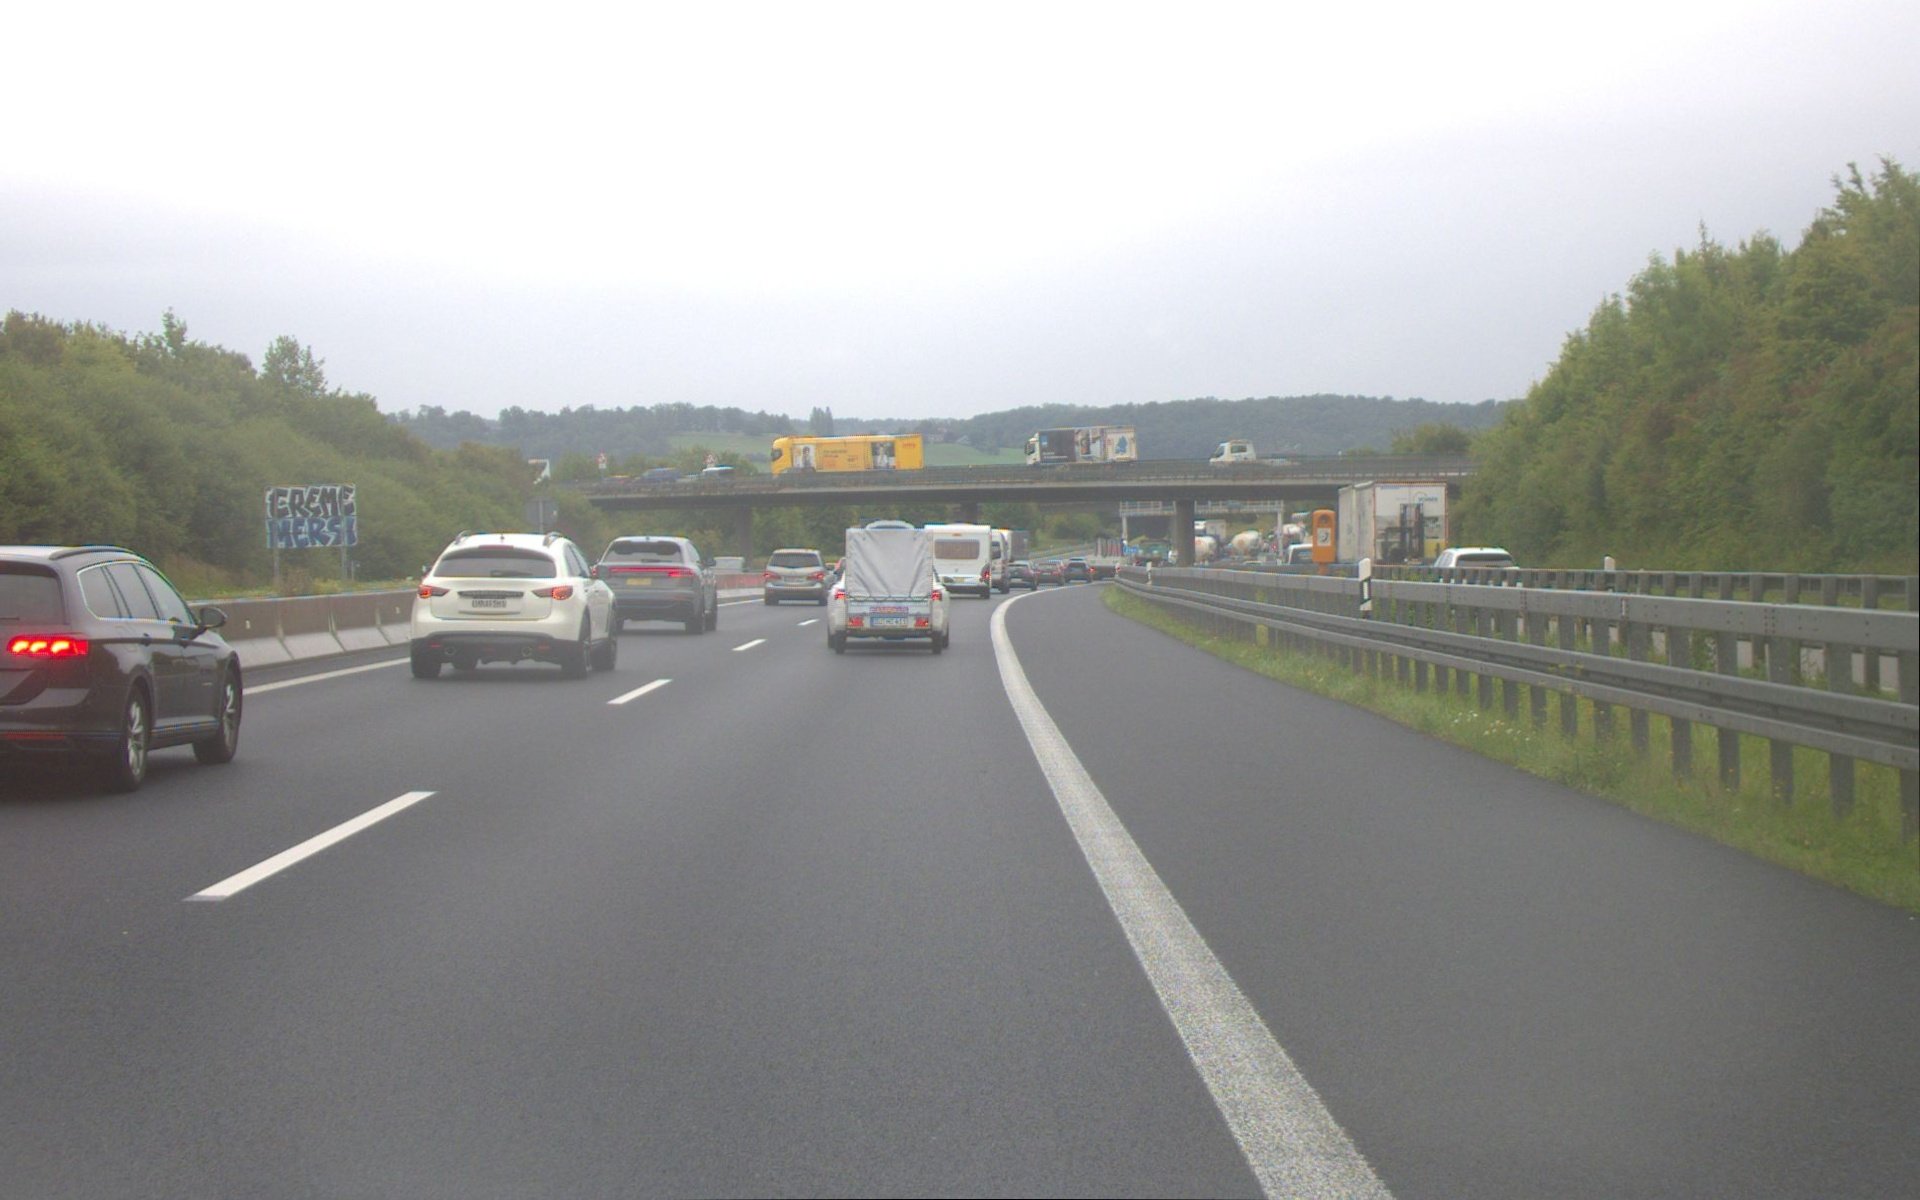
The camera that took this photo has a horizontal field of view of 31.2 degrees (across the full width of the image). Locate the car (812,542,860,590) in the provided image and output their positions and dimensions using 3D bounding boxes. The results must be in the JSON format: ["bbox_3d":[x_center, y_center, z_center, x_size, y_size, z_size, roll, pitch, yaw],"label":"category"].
[{"bbox_3d":[-4.750,-1.320,131.655,1.841,1.813,4.001,0,1,-2],"label":"car"}]

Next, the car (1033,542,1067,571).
[{"bbox_3d":[5.583,-2.715,212.642,1.993,1.744,4.000,1,1,0],"label":"car"}]

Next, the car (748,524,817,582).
[{"bbox_3d":[-5.024,-1.365,97.942,1.900,1.607,4.017,0,1,-2],"label":"car"}]

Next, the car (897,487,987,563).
[{"bbox_3d":[-0.576,-2.633,120.495,3.017,2.607,6.075,0,1,1],"label":"car"}]

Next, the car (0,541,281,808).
[{"bbox_3d":[-5.663,0.391,21.625,1.900,1.492,4.852,0,1,-1],"label":"car"}]

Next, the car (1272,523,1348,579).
[{"bbox_3d":[11.441,-1.624,112.542,1.859,1.799,4.648,0,1,-2],"label":"car"}]

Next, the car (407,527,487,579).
[{"bbox_3d":[-16.975,-1.578,113.841,1.982,1.609,4.422,2,1,-1],"label":"car"}]

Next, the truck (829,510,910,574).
[{"bbox_3d":[-5.069,-3.292,195.023,3.766,3.542,13.186,0,1,2],"label":"truck"}]

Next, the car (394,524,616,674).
[{"bbox_3d":[-5.199,-0.057,39.826,1.976,1.633,4.501,0,1,0],"label":"car"}]

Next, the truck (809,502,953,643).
[{"bbox_3d":[-1.144,-0.468,51.810,2.019,1.978,7.213,0,1,-1],"label":"truck"}]

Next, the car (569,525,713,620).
[{"bbox_3d":[-5.594,-0.508,60.817,2.174,1.626,4.501,0,1,-1],"label":"car"}]

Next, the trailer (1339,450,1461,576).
[{"bbox_3d":[15.583,-3.085,122.542,3.437,4.274,10.454,0,1,2],"label":"trailer"}]

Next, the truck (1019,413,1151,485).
[{"bbox_3d":[8.769,-10.625,243.327,3.767,4.819,10.041,-1,1,-38],"label":"truck"}]

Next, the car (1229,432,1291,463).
[{"bbox_3d":[19.841,-10.082,227.554,1.838,1.908,3.999,0,1,-39],"label":"car"}]

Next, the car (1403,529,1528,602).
[{"bbox_3d":[11.036,-0.773,75.340,2.008,1.543,4.696,0,1,0],"label":"car"}]

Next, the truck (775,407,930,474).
[{"bbox_3d":[-8.458,-12.297,266.526,3.767,4.819,15.241,-1,1,-38],"label":"truck"}]

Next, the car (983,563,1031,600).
[{"bbox_3d":[2.290,-0.934,167.891,1.993,1.744,4.001,1,1,-4],"label":"car"}]
